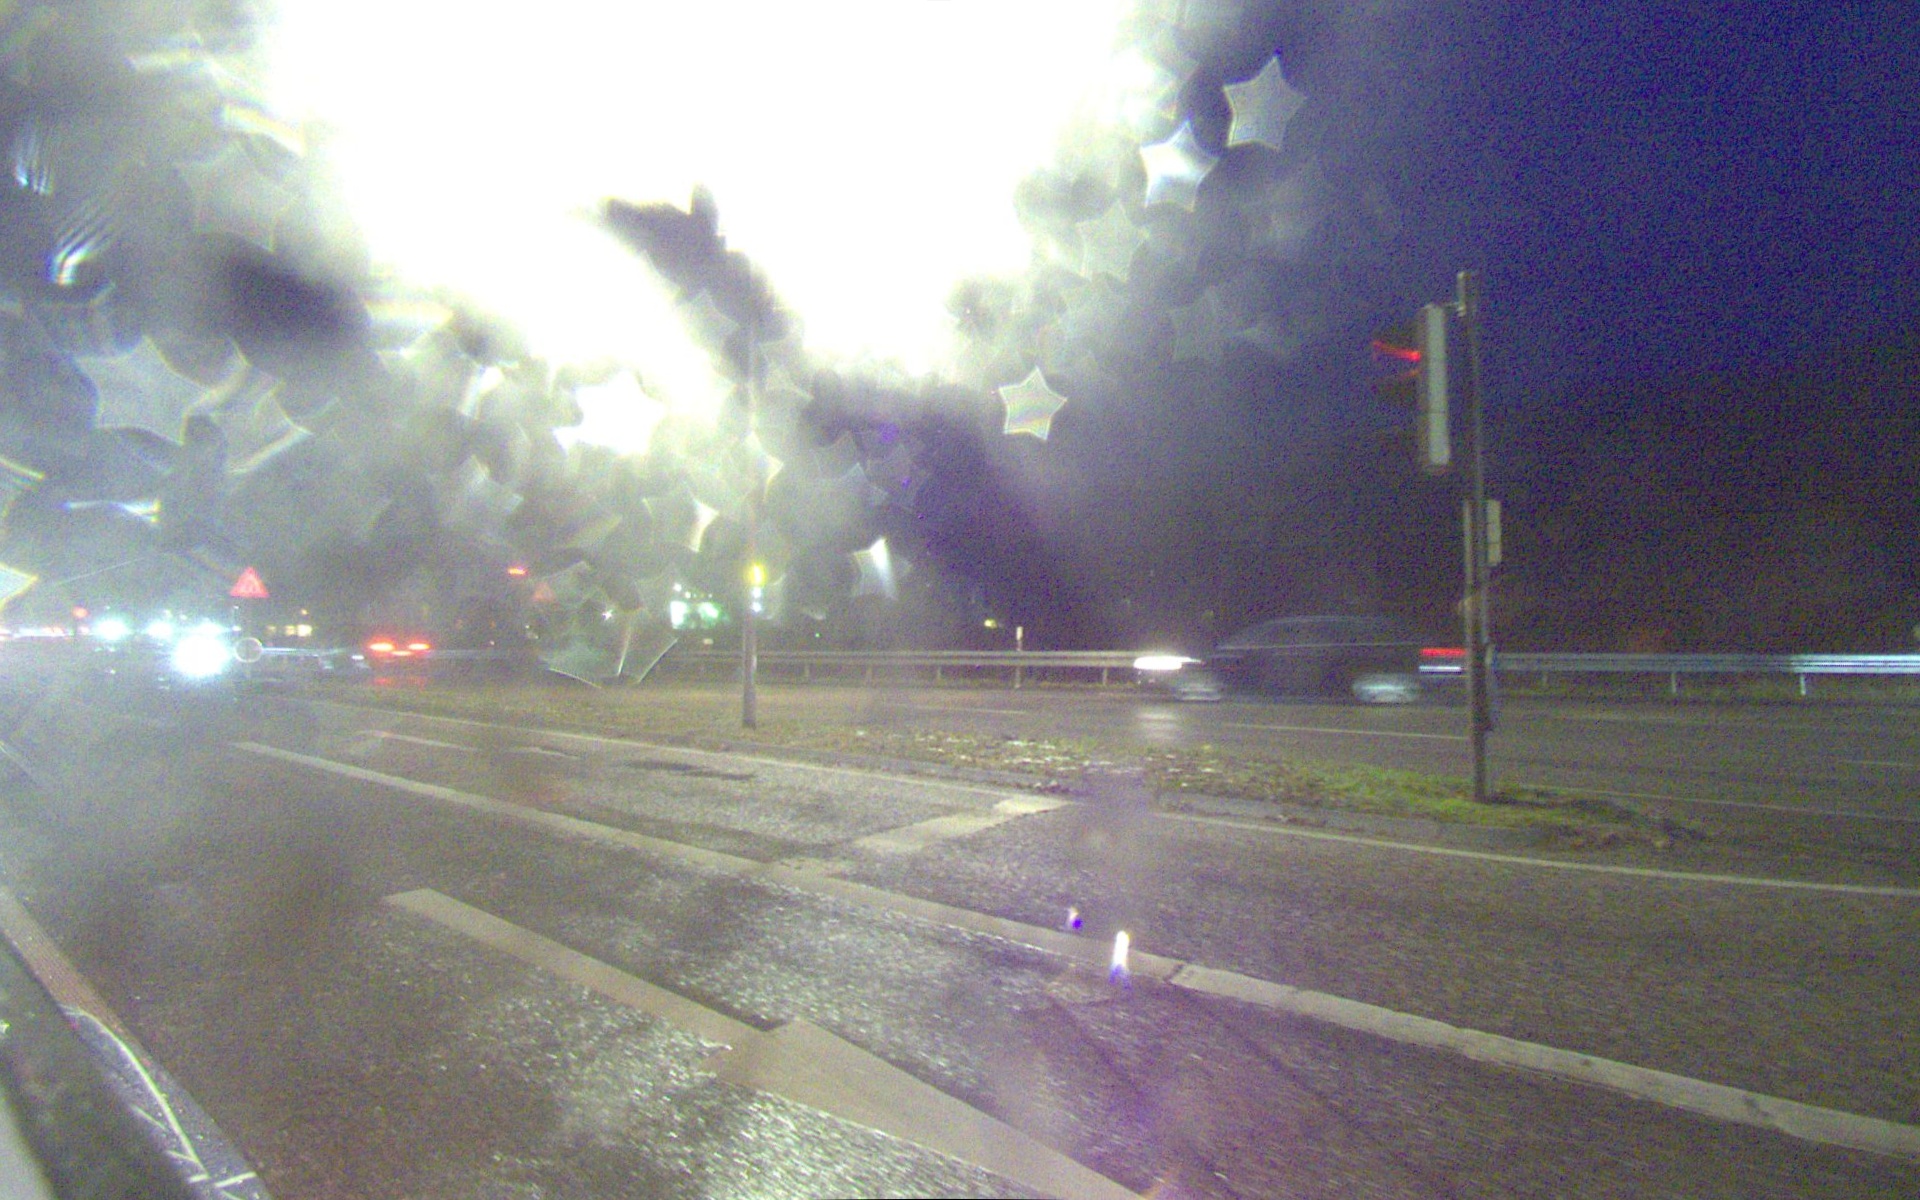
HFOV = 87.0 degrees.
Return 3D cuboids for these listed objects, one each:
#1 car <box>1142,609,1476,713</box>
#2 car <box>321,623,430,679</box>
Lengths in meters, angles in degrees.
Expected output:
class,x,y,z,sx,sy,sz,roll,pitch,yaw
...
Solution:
class,x,y,z,sx,sy,sz,roll,pitch,yaw
car,5.493,0.906,16.391,4.853,1.515,1.741,0,0,18
car,-19.356,1.621,33.421,4.504,1.665,1.690,0,-1,40
